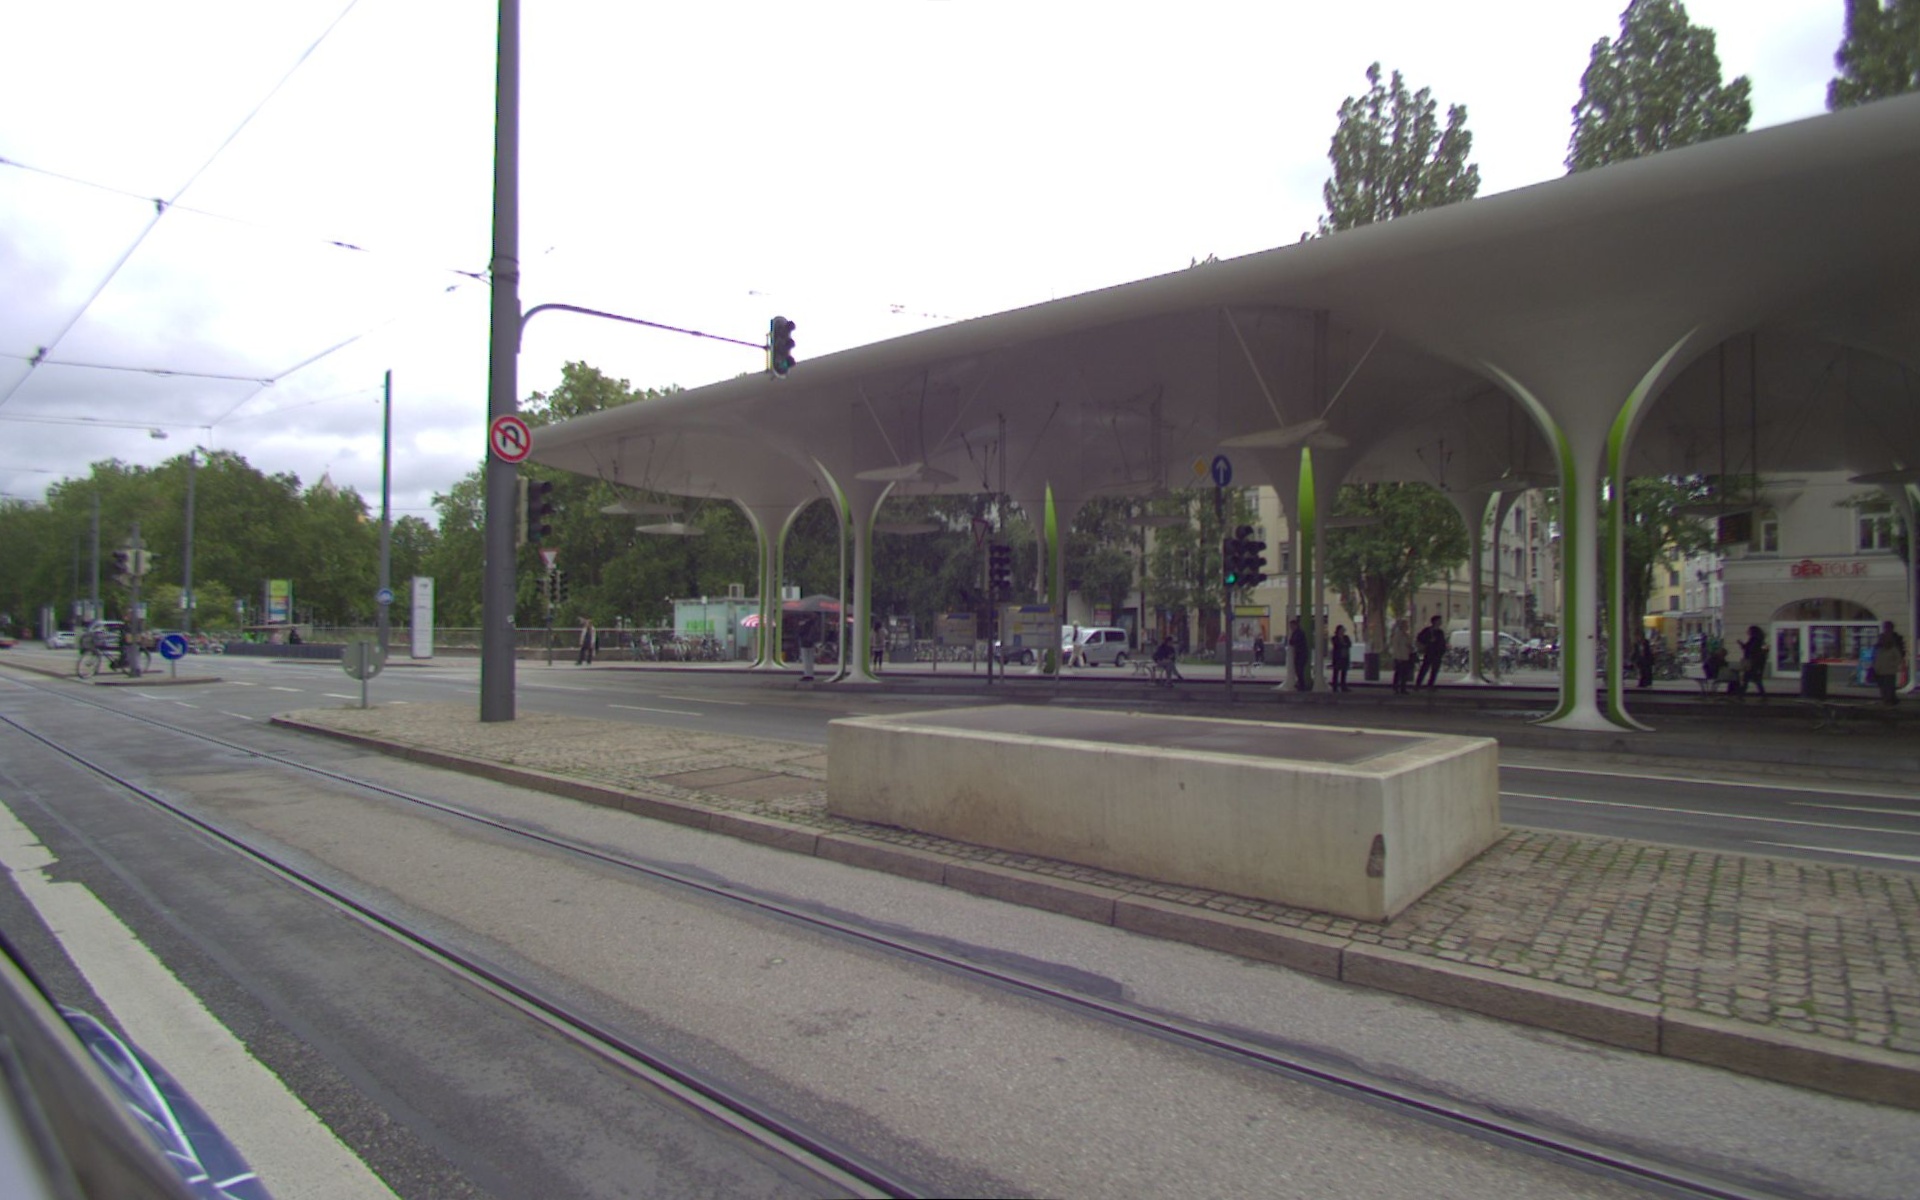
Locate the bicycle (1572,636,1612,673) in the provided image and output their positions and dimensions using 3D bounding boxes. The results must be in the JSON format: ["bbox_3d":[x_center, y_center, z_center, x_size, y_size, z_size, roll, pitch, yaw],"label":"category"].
[{"bbox_3d":[29.219,2.477,46.786,1.000,1.625,3.576,-1,-2,41],"label":"bicycle"}]

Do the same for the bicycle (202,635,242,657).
[{"bbox_3d":[-40.906,2.556,56.117,0.560,1.181,1.675,-1,-2,31],"label":"bicycle"}]

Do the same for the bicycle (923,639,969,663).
[{"bbox_3d":[-0.685,2.520,50.103,2.523,1.138,0.635,-1,-2,42],"label":"bicycle"}]

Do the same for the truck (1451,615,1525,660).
[{"bbox_3d":[32.854,2.309,62.908,5.269,2.643,2.295,2,-2,-42],"label":"truck"}]

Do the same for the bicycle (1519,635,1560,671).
[{"bbox_3d":[27.646,2.518,48.227,1.000,1.625,3.576,-1,-2,41],"label":"bicycle"}]

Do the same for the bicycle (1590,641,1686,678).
[{"bbox_3d":[25.889,2.250,38.704,0.828,1.324,2.947,2,-2,-39],"label":"bicycle"}]

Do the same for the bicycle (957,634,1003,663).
[{"bbox_3d":[1.007,2.463,51.801,2.562,1.432,0.627,-1,-2,42],"label":"bicycle"}]

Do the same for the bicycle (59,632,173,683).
[{"bbox_3d":[-21.123,1.425,25.389,0.503,1.159,2.214,0,0,22],"label":"bicycle"}]

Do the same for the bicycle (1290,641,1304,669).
[{"bbox_3d":[17.581,2.869,52.760,0.295,1.407,1.126,-1,0,39],"label":"bicycle"}]

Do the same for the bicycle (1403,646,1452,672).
[{"bbox_3d":[21.497,2.691,46.513,2.639,1.143,0.741,1,-2,-34],"label":"bicycle"}]

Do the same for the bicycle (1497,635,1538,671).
[{"bbox_3d":[26.982,2.535,48.943,1.000,1.625,3.576,-1,-2,41],"label":"bicycle"}]

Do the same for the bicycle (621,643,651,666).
[{"bbox_3d":[-13.255,2.230,41.334,0.473,0.901,1.852,2,-2,-41],"label":"bicycle"}]

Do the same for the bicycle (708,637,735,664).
[{"bbox_3d":[-10.287,2.173,43.545,0.472,1.104,1.854,1,-2,-35],"label":"bicycle"}]

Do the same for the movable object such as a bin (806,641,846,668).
[{"bbox_3d":[-5.564,2.267,42.052,0.957,1.092,1.319,-2,-2,42],"label":"movable object such as a bin"}]

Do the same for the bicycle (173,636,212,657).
[{"bbox_3d":[-43.575,2.625,57.485,0.560,1.181,1.675,-1,-2,31],"label":"bicycle"}]

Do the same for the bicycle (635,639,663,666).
[{"bbox_3d":[-12.823,2.148,41.670,0.472,1.104,1.853,1,-2,-38],"label":"bicycle"}]

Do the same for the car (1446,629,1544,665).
[{"bbox_3d":[30.061,2.636,56.914,4.787,1.934,1.979,-1,-2,32],"label":"car"}]

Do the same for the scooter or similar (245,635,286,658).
[{"bbox_3d":[-36.165,2.433,52.740,0.561,1.181,1.671,-2,-2,38],"label":"scooter or similar"}]

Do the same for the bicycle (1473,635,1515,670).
[{"bbox_3d":[26.213,2.556,49.652,1.000,1.625,3.576,-1,-2,41],"label":"bicycle"}]

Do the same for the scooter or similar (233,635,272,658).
[{"bbox_3d":[-37.831,2.476,54.144,0.558,1.181,1.681,-1,-2,22],"label":"scooter or similar"}]

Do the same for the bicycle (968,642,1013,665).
[{"bbox_3d":[1.545,2.754,52.214,2.523,1.138,0.635,-2,-3,42],"label":"bicycle"}]

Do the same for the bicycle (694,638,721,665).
[{"bbox_3d":[-10.784,2.185,43.254,0.472,1.104,1.854,1,-2,-35],"label":"bicycle"}]

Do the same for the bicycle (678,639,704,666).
[{"bbox_3d":[-11.400,2.200,42.843,0.472,1.104,1.854,1,-2,-35],"label":"bicycle"}]

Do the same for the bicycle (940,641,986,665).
[{"bbox_3d":[0.121,2.641,50.826,2.523,1.138,0.635,-1,-2,42],"label":"bicycle"}]

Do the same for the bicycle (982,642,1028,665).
[{"bbox_3d":[2.330,2.757,52.698,2.523,1.138,0.635,-1,-2,42],"label":"bicycle"}]

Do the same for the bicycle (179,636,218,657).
[{"bbox_3d":[-42.839,2.606,56.913,0.504,1.181,1.675,-1,-2,31],"label":"bicycle"}]

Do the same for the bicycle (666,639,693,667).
[{"bbox_3d":[-11.801,2.210,42.514,0.472,1.104,1.854,1,-2,-35],"label":"bicycle"}]

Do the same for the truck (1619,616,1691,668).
[{"bbox_3d":[36.218,2.169,52.612,2.438,2.532,7.088,-1,-2,40],"label":"truck"}]

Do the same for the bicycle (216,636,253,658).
[{"bbox_3d":[-39.015,2.507,54.426,0.556,1.181,1.687,-1,-2,11],"label":"bicycle"}]

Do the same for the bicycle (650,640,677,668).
[{"bbox_3d":[-12.329,2.223,42.065,0.472,1.104,1.854,1,-2,-35],"label":"bicycle"}]

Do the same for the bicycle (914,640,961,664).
[{"bbox_3d":[-1.108,2.530,49.584,2.523,1.138,0.635,-1,-2,42],"label":"bicycle"}]

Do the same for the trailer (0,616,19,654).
[{"bbox_3d":[-73.770,2.605,75.942,15.625,2.703,2.583,-2,-4,40],"label":"trailer"}]

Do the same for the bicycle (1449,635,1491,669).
[{"bbox_3d":[25.447,2.576,50.431,1.000,1.625,3.576,-1,-2,41],"label":"bicycle"}]

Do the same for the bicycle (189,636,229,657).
[{"bbox_3d":[-42.009,2.584,56.619,0.560,1.181,1.675,-1,-2,31],"label":"bicycle"}]

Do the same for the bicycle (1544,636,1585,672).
[{"bbox_3d":[28.435,2.497,47.579,1.000,1.625,3.576,-1,-2,41],"label":"bicycle"}]

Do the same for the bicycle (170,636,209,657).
[{"bbox_3d":[-44.035,2.637,57.847,0.504,1.181,1.674,-1,-2,33],"label":"bicycle"}]

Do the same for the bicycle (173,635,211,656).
[{"bbox_3d":[-44.767,2.656,58.994,0.505,1.181,1.672,-2,-2,37],"label":"bicycle"}]

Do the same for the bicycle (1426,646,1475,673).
[{"bbox_3d":[22.180,2.673,45.763,2.639,1.143,0.741,1,-2,-34],"label":"bicycle"}]
